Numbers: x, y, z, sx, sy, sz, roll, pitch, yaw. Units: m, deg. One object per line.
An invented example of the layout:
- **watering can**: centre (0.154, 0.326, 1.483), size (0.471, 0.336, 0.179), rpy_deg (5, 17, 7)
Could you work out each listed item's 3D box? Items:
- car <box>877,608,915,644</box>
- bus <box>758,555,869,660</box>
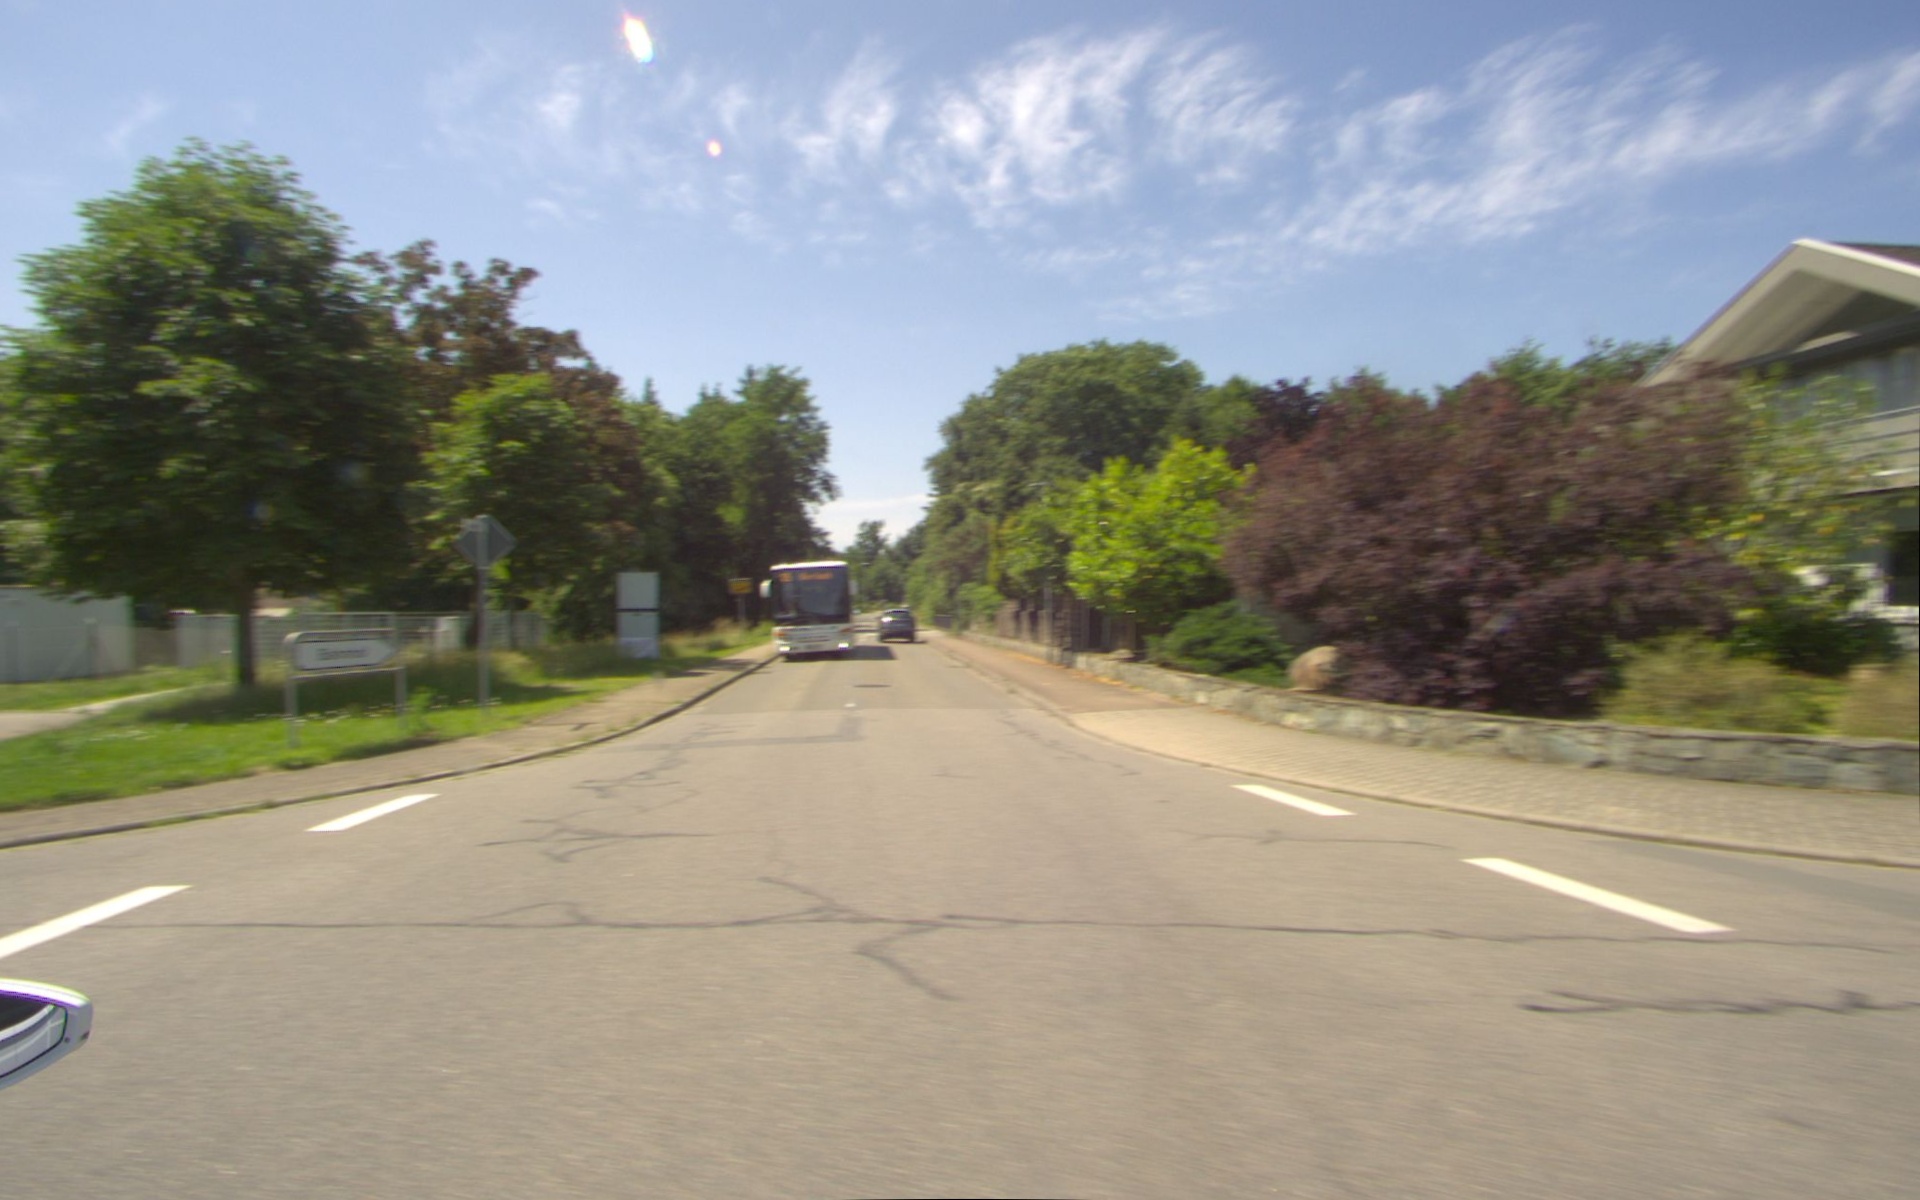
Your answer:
- **car**: centre (-3.132, 1.255, 48.725), size (1.734, 1.639, 4.000), rpy_deg (1, -1, -5)
- **bus**: centre (-5.178, 0.312, 37.841), size (3.130, 3.287, 12.711), rpy_deg (0, -1, -4)
